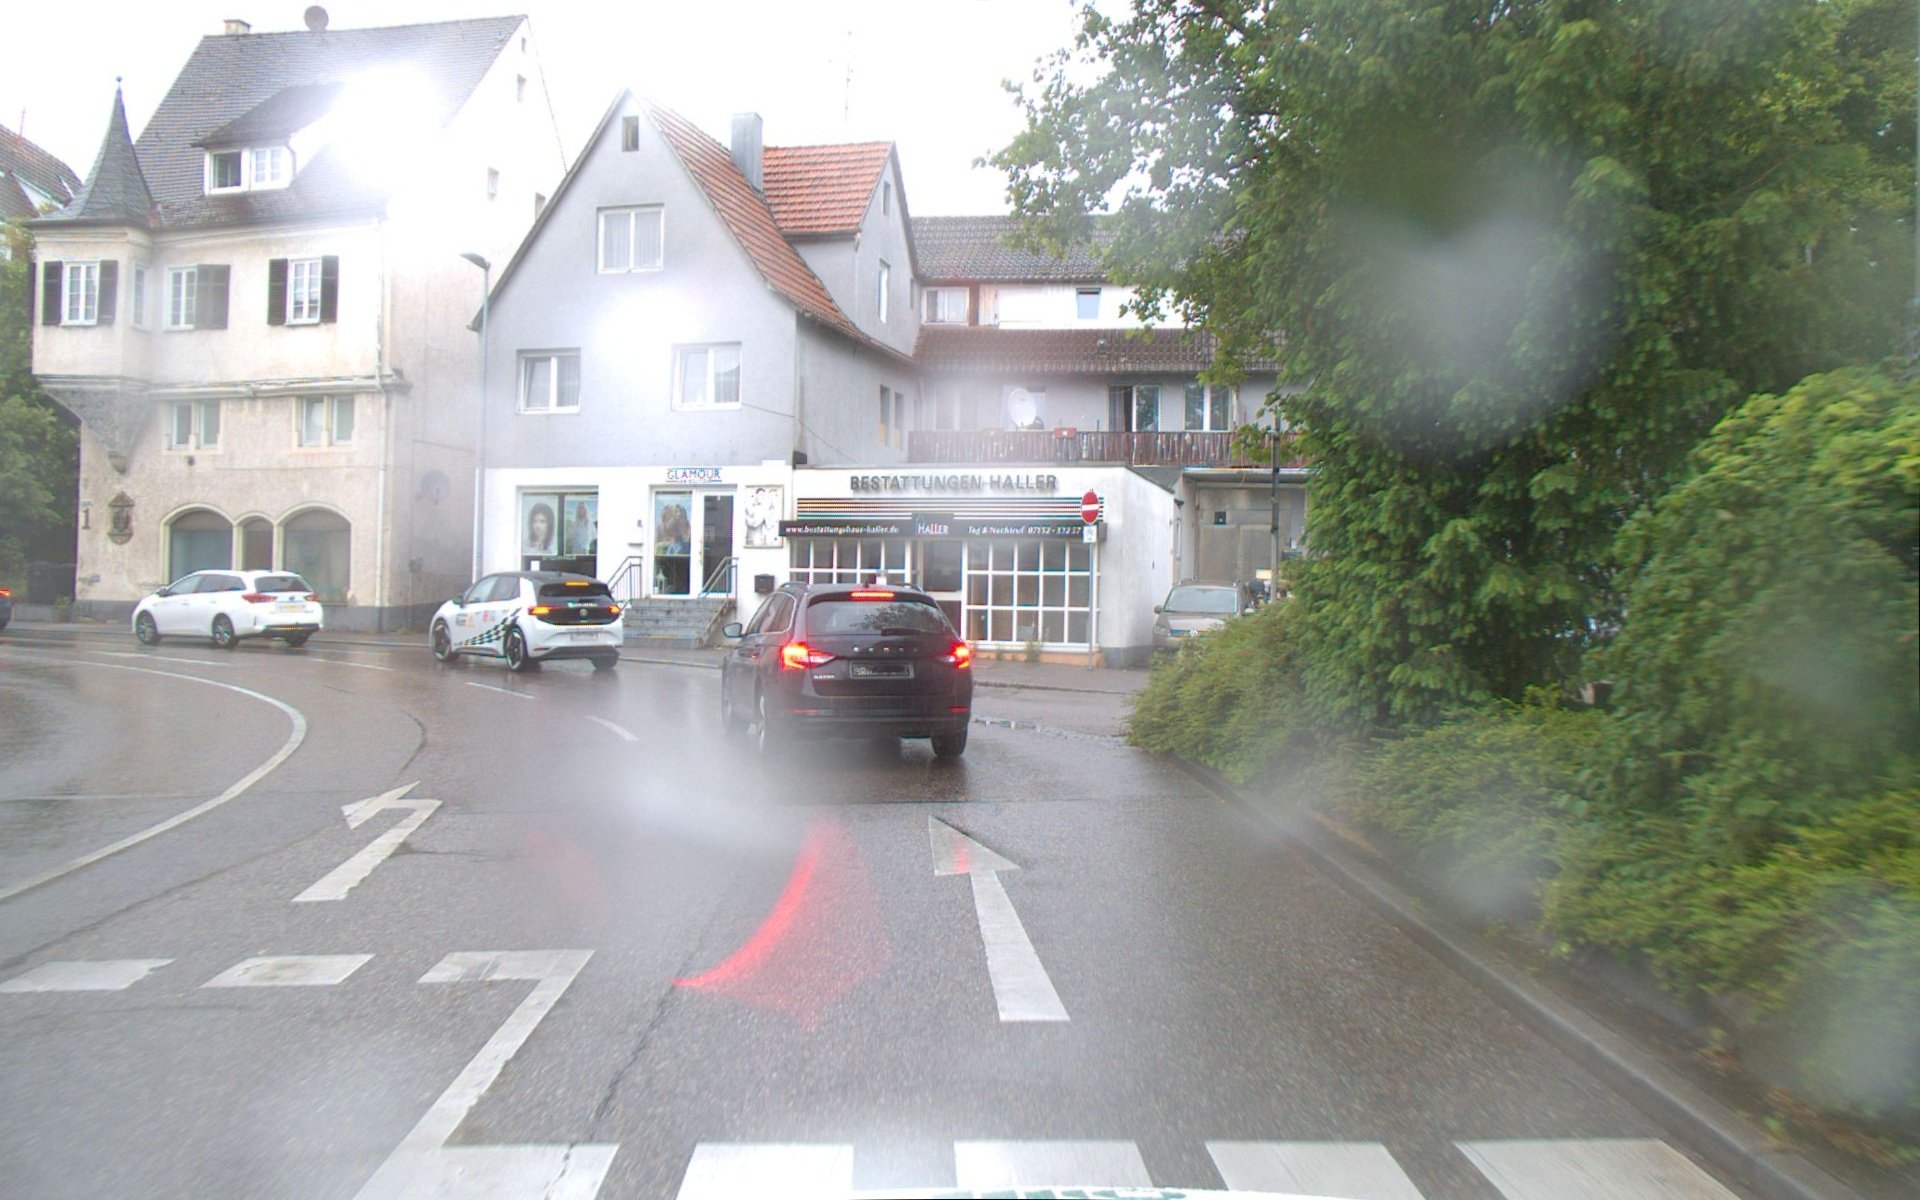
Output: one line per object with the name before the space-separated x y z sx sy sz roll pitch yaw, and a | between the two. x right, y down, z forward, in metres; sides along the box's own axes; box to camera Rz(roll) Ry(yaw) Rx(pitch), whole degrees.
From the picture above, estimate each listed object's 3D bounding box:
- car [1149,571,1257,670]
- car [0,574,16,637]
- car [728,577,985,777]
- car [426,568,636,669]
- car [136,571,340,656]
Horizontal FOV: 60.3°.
car | 4.953 0.338 33.284 1.882 1.758 4.673 1 2 11
car | -23.230 0.091 37.348 3.681 1.385 1.522 2 2 25
car | -1.088 0.573 15.027 1.702 1.475 4.229 0 2 -12
car | -7.212 0.245 27.537 1.778 1.543 4.179 -1 2 -40
car | -14.292 0.215 32.679 4.078 1.491 1.786 2 2 34
